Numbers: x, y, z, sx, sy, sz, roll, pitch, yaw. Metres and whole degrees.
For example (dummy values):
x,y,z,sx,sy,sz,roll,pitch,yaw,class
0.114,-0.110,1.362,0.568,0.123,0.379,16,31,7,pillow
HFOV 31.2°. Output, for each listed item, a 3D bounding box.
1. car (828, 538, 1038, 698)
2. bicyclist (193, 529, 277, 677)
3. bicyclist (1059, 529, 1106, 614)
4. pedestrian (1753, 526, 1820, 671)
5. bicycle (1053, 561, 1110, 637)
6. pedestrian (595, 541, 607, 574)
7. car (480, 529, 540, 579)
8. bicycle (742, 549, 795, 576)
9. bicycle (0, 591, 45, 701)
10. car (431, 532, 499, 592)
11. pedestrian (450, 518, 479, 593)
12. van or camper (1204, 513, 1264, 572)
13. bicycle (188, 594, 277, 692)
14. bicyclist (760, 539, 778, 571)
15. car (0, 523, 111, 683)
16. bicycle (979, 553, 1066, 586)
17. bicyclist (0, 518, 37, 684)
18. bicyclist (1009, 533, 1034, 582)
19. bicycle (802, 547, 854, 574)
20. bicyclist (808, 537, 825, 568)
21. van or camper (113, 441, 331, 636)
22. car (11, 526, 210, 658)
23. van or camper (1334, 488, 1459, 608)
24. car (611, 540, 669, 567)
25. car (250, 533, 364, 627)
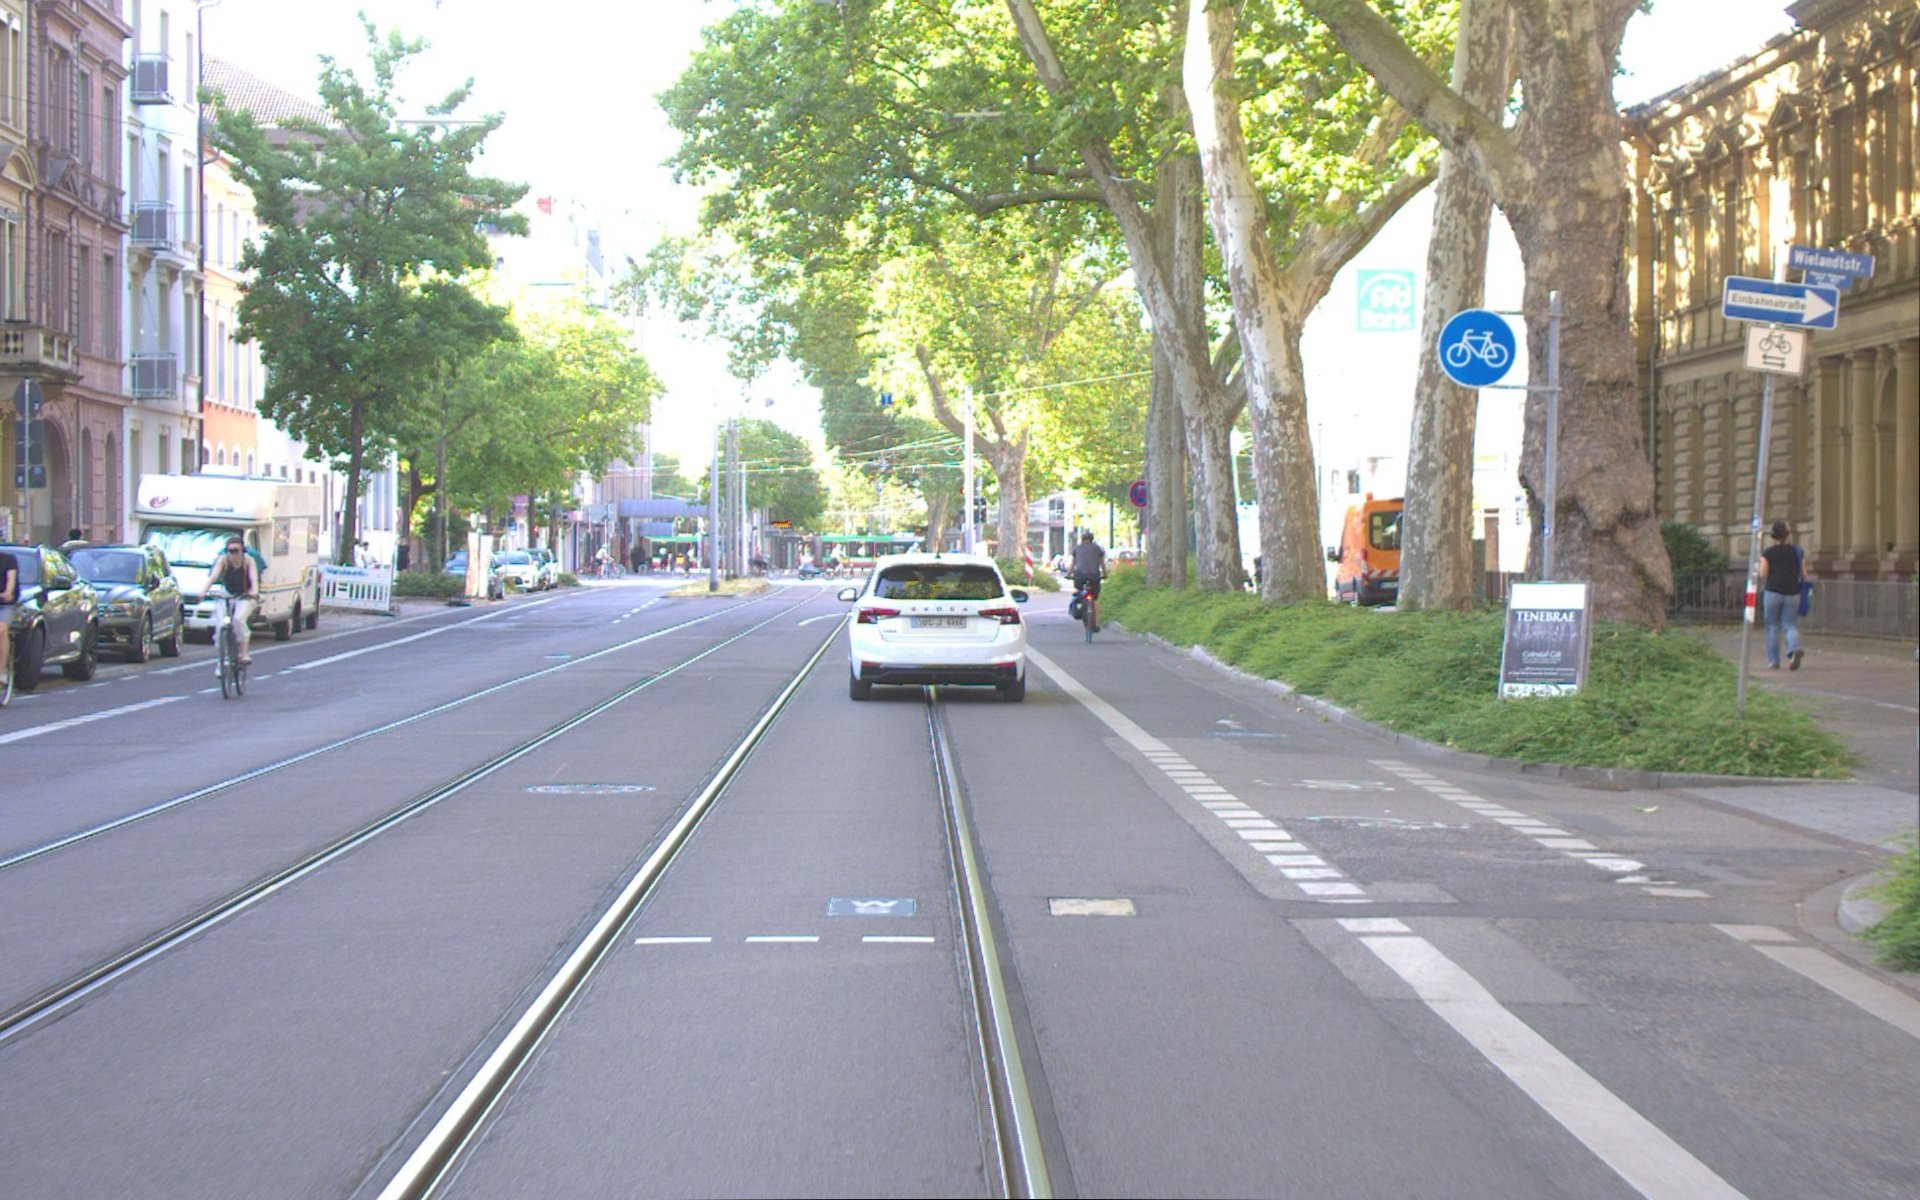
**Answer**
x,y,z,sx,sy,sz,roll,pitch,yaw,class
-0.325,0.143,34.434,1.842,1.475,3.839,1,1,-4,car
-7.511,0.021,35.642,0.638,1.498,1.070,-1,1,-1,bicyclist
1.950,-0.457,54.618,0.679,1.334,0.525,1,1,-2,bicyclist
9.502,-0.017,39.507,0.648,1.627,0.871,2,1,18,pedestrian
1.922,-0.033,54.865,0.680,1.151,2.964,1,1,-2,bicycle
-17.176,-2.035,164.361,0.512,1.541,0.463,1,1,-1,pedestrian
-16.038,-1.652,122.620,1.793,1.720,3.785,1,1,-3,car
-9.360,-1.832,167.881,2.680,1.323,0.615,-1,1,-36,bicycle
-9.578,0.458,33.992,0.484,1.044,2.039,-2,1,0,bicycle
-14.604,-1.136,101.585,1.641,1.720,3.785,1,1,-3,car
-13.231,-1.185,91.826,0.601,1.996,0.749,1,1,3,pedestrian
11.166,-2.334,140.320,1.993,2.335,4.000,2,1,-1,van or camper
-7.530,0.433,35.639,0.499,0.940,1.921,-2,1,0,bicycle
-9.338,-2.191,167.914,0.631,1.517,0.610,-1,2,-36,bicyclist
-11.753,-0.037,41.580,1.964,1.775,4.938,3,1,-4,car
2.054,-1.006,113.014,2.771,0.996,0.592,2,1,13,bicycle
-9.574,0.010,34.130,0.535,1.629,0.896,-2,1,0,bicyclist
2.029,-1.400,112.990,0.737,1.583,0.586,0,1,11,bicyclist
-6.515,-1.951,169.952,2.680,1.323,0.615,-1,1,-36,bicycle
-7.079,-2.335,169.554,0.631,1.517,0.610,-1,2,-36,bicyclist
-12.647,-1.052,59.416,2.216,3.129,7.114,1,1,0,van or camper
-12.142,-0.140,49.404,1.964,1.775,4.471,1,1,-3,car
9.428,-1.122,74.619,2.027,2.455,5.108,2,1,0,van or camper
-22.674,-3.265,243.468,3.794,1.812,1.803,2,1,4,car
-12.504,-0.398,66.015,1.641,1.720,3.785,1,1,-3,car
